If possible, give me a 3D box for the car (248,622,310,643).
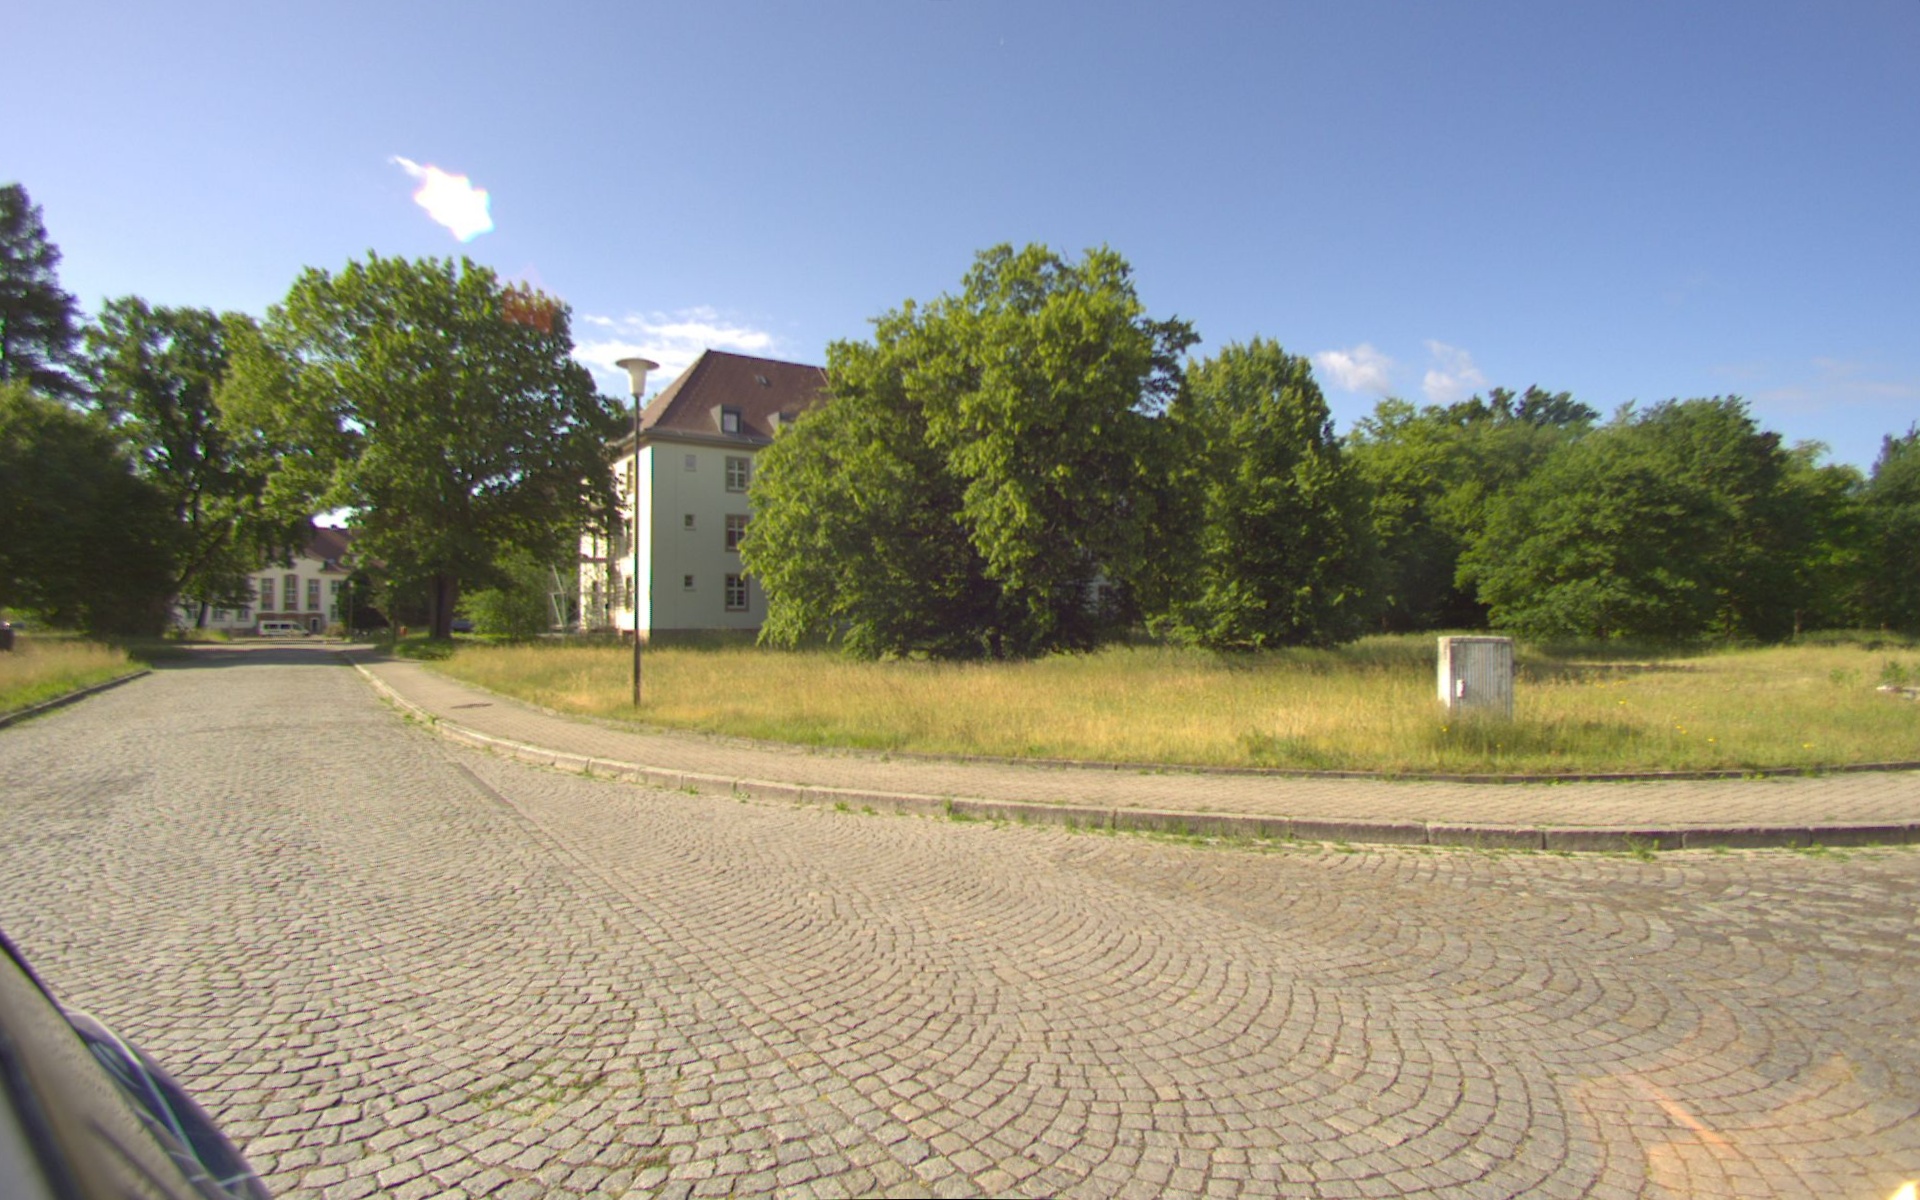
[{"bbox_3d":[-85.249,4.071,126.822,6.341,2.485,2.470,1,-2,-33],"label":"car"}]

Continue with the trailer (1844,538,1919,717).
[{"bbox_3d":[14.203,0.334,12.359,2.101,2.315,4.683,1,-2,-32],"label":"trailer"}]
